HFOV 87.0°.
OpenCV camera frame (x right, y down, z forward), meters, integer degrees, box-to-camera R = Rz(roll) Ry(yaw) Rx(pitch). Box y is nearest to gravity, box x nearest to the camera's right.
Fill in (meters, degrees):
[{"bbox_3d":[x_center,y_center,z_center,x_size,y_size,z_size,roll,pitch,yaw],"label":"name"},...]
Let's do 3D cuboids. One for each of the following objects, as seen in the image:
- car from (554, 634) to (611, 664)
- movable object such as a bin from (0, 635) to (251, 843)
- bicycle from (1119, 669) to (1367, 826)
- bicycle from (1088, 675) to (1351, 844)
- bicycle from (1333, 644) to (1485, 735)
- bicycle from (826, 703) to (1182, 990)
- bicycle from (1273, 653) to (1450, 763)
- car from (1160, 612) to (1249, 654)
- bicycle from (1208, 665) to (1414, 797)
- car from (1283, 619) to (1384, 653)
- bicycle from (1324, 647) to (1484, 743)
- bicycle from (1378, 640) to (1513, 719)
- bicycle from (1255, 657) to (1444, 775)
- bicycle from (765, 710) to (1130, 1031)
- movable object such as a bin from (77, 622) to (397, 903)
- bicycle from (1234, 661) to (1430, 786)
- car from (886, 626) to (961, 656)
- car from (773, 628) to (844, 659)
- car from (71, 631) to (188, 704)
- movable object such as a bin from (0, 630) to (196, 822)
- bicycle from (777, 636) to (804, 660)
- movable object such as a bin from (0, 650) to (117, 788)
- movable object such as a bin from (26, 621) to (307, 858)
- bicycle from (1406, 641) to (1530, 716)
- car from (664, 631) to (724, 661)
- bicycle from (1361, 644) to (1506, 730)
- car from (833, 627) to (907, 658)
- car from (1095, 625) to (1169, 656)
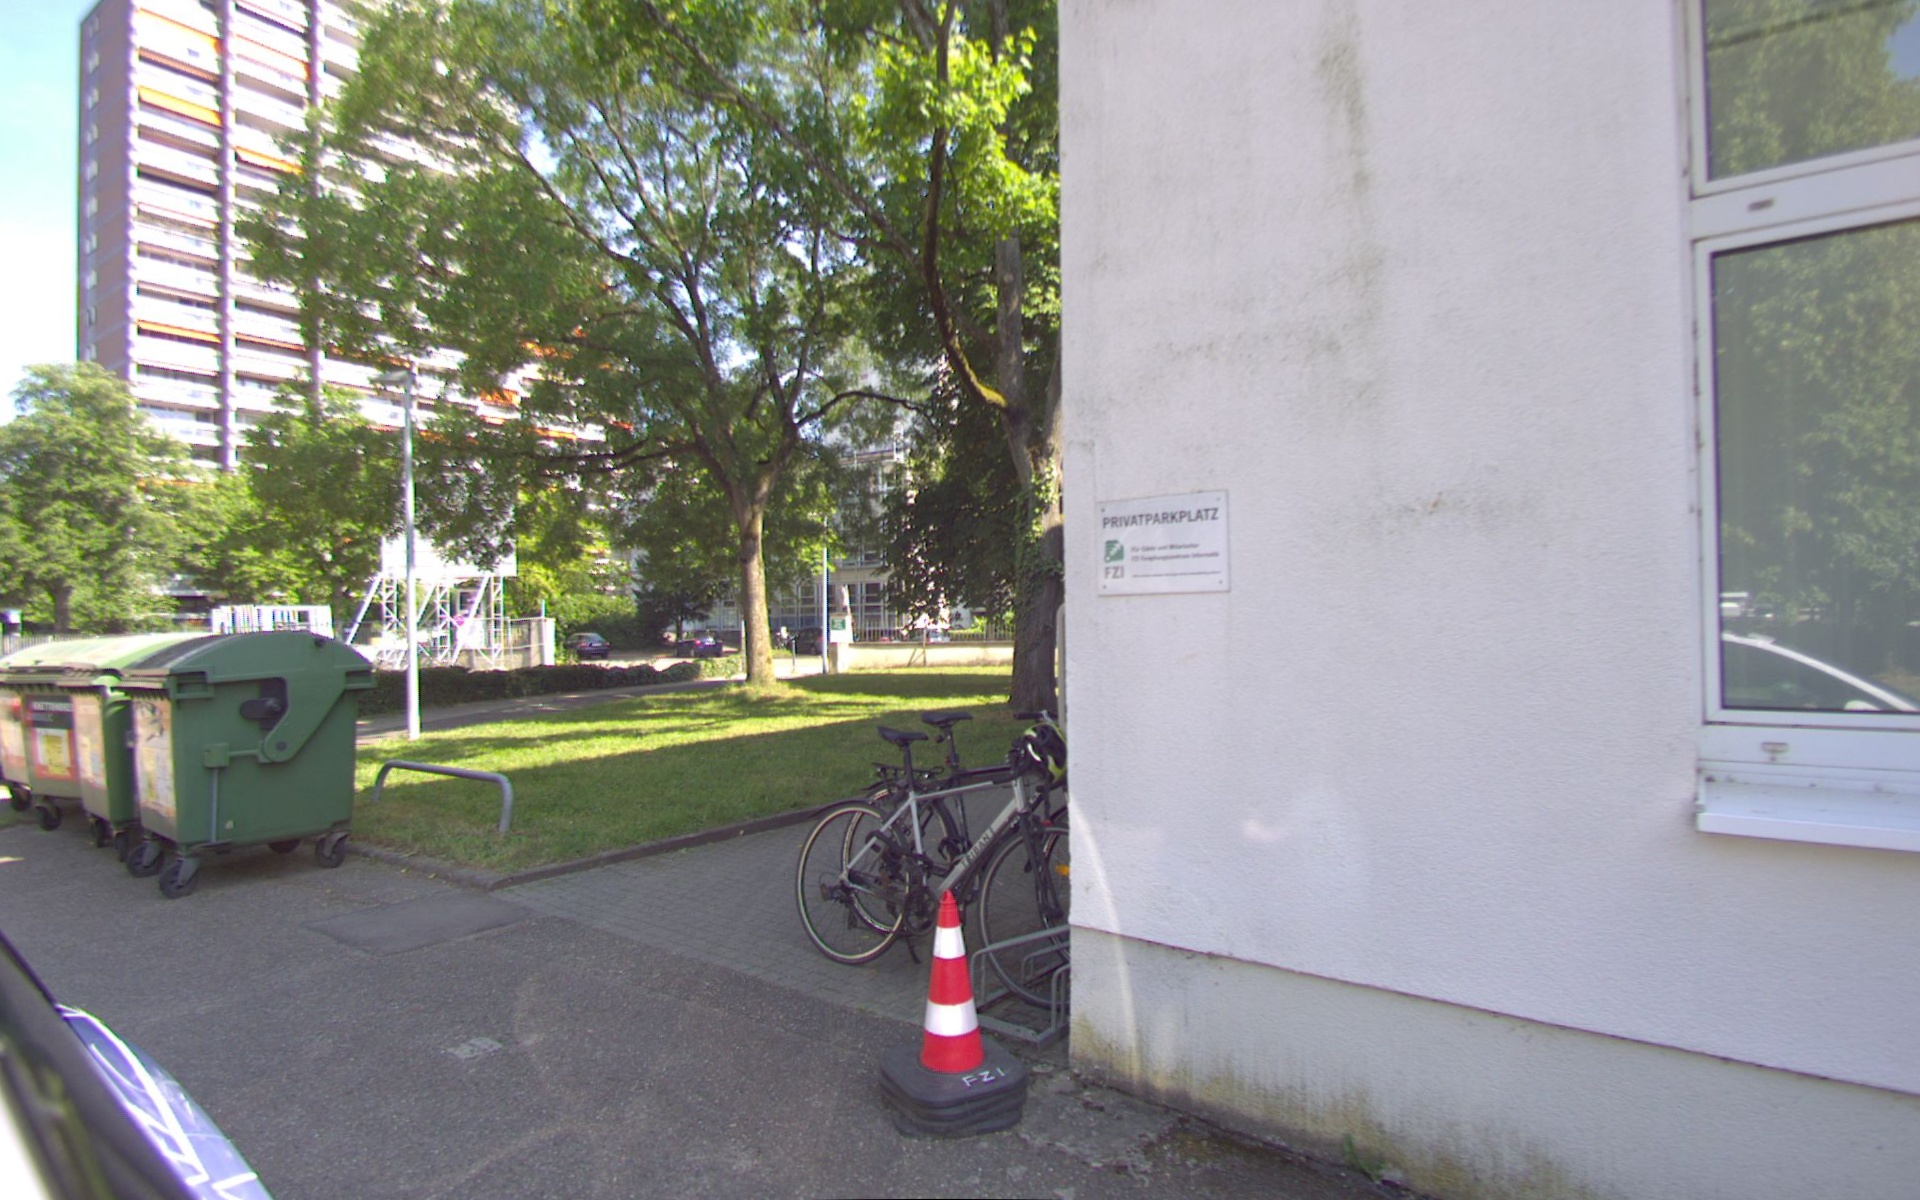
[{"bbox_3d":[-20.627,2.622,55.244,1.813,1.421,4.156,-2,0,-37],"label":"car"},{"bbox_3d":[-6.611,1.018,7.990,1.217,1.442,1.237,-2,-2,26],"label":"movable object such as a bin"},{"bbox_3d":[1.985,1.001,7.272,1.665,1.000,0.440,-3,-3,40],"label":"bicycle"},{"bbox_3d":[1.708,1.020,6.859,1.684,1.000,0.440,-3,-3,40],"label":"bicycle"},{"bbox_3d":[5.234,1.034,11.866,1.540,1.000,0.440,-3,-3,40],"label":"bicycle"},{"bbox_3d":[0.130,0.990,4.479,1.629,1.000,0.440,-3,-3,40],"label":"bicycle"},{"bbox_3d":[3.932,1.036,9.986,1.540,1.000,0.440,-3,-3,40],"label":"bicycle"},{"bbox_3d":[11.873,1.645,49.310,1.758,1.921,4.009,1,-3,-37],"label":"car"},{"bbox_3d":[2.883,1.047,8.419,1.540,1.000,0.440,-3,-3,40],"label":"bicycle"},{"bbox_3d":[17.912,1.761,48.675,1.753,1.550,4.229,1,-3,-36],"label":"car"},{"bbox_3d":[4.919,1.038,11.266,1.539,1.000,0.440,-3,-3,38],"label":"bicycle"},{"bbox_3d":[6.466,1.048,13.531,1.540,1.000,0.440,-3,-3,40],"label":"bicycle"},{"bbox_3d":[3.559,1.033,9.339,1.540,1.000,0.440,-3,-3,40],"label":"bicycle"},{"bbox_3d":[-0.113,0.975,4.059,1.540,1.000,0.440,-3,-3,40],"label":"bicycle"},{"bbox_3d":[-4.377,0.872,6.149,1.347,1.442,1.233,-2,-2,36],"label":"movable object such as a bin"},{"bbox_3d":[3.236,1.044,8.897,1.540,1.000,0.440,-3,-3,40],"label":"bicycle"},{"bbox_3d":[-1.953,2.156,52.974,1.772,1.497,4.350,0,-2,-36],"label":"car"},{"bbox_3d":[-8.044,2.297,53.435,1.779,1.577,4.399,0,-2,-38],"label":"car"},{"bbox_3d":[-23.241,1.812,28.489,1.889,1.794,4.325,-2,-1,-31],"label":"car"},{"bbox_3d":[-7.713,1.026,8.864,1.334,1.493,1.235,-2,-2,31],"label":"movable object such as a bin"},{"bbox_3d":[-10.253,2.895,61.241,0.487,1.389,1.997,-2,-2,28],"label":"bicycle"},{"bbox_3d":[-10.338,1.292,11.352,1.227,1.407,1.407,0,-2,-35],"label":"movable object such as a bin"},{"bbox_3d":[-5.551,0.881,7.100,1.363,1.442,1.233,-2,-2,36],"label":"movable object such as a bin"},{"bbox_3d":[7.282,1.101,14.546,1.538,1.000,0.440,-1,0,36],"label":"bicycle"},{"bbox_3d":[-14.273,2.460,54.248,1.627,1.463,4.008,0,-2,-38],"label":"car"},{"bbox_3d":[5.871,1.067,12.604,1.540,1.000,0.440,-3,-3,40],"label":"bicycle"},{"bbox_3d":[-4.703,2.202,52.649,1.773,1.487,4.192,0,-2,-39],"label":"car"},{"bbox_3d":[8.500,2.013,50.314,1.680,1.475,3.862,0,-2,-25],"label":"car"}]
